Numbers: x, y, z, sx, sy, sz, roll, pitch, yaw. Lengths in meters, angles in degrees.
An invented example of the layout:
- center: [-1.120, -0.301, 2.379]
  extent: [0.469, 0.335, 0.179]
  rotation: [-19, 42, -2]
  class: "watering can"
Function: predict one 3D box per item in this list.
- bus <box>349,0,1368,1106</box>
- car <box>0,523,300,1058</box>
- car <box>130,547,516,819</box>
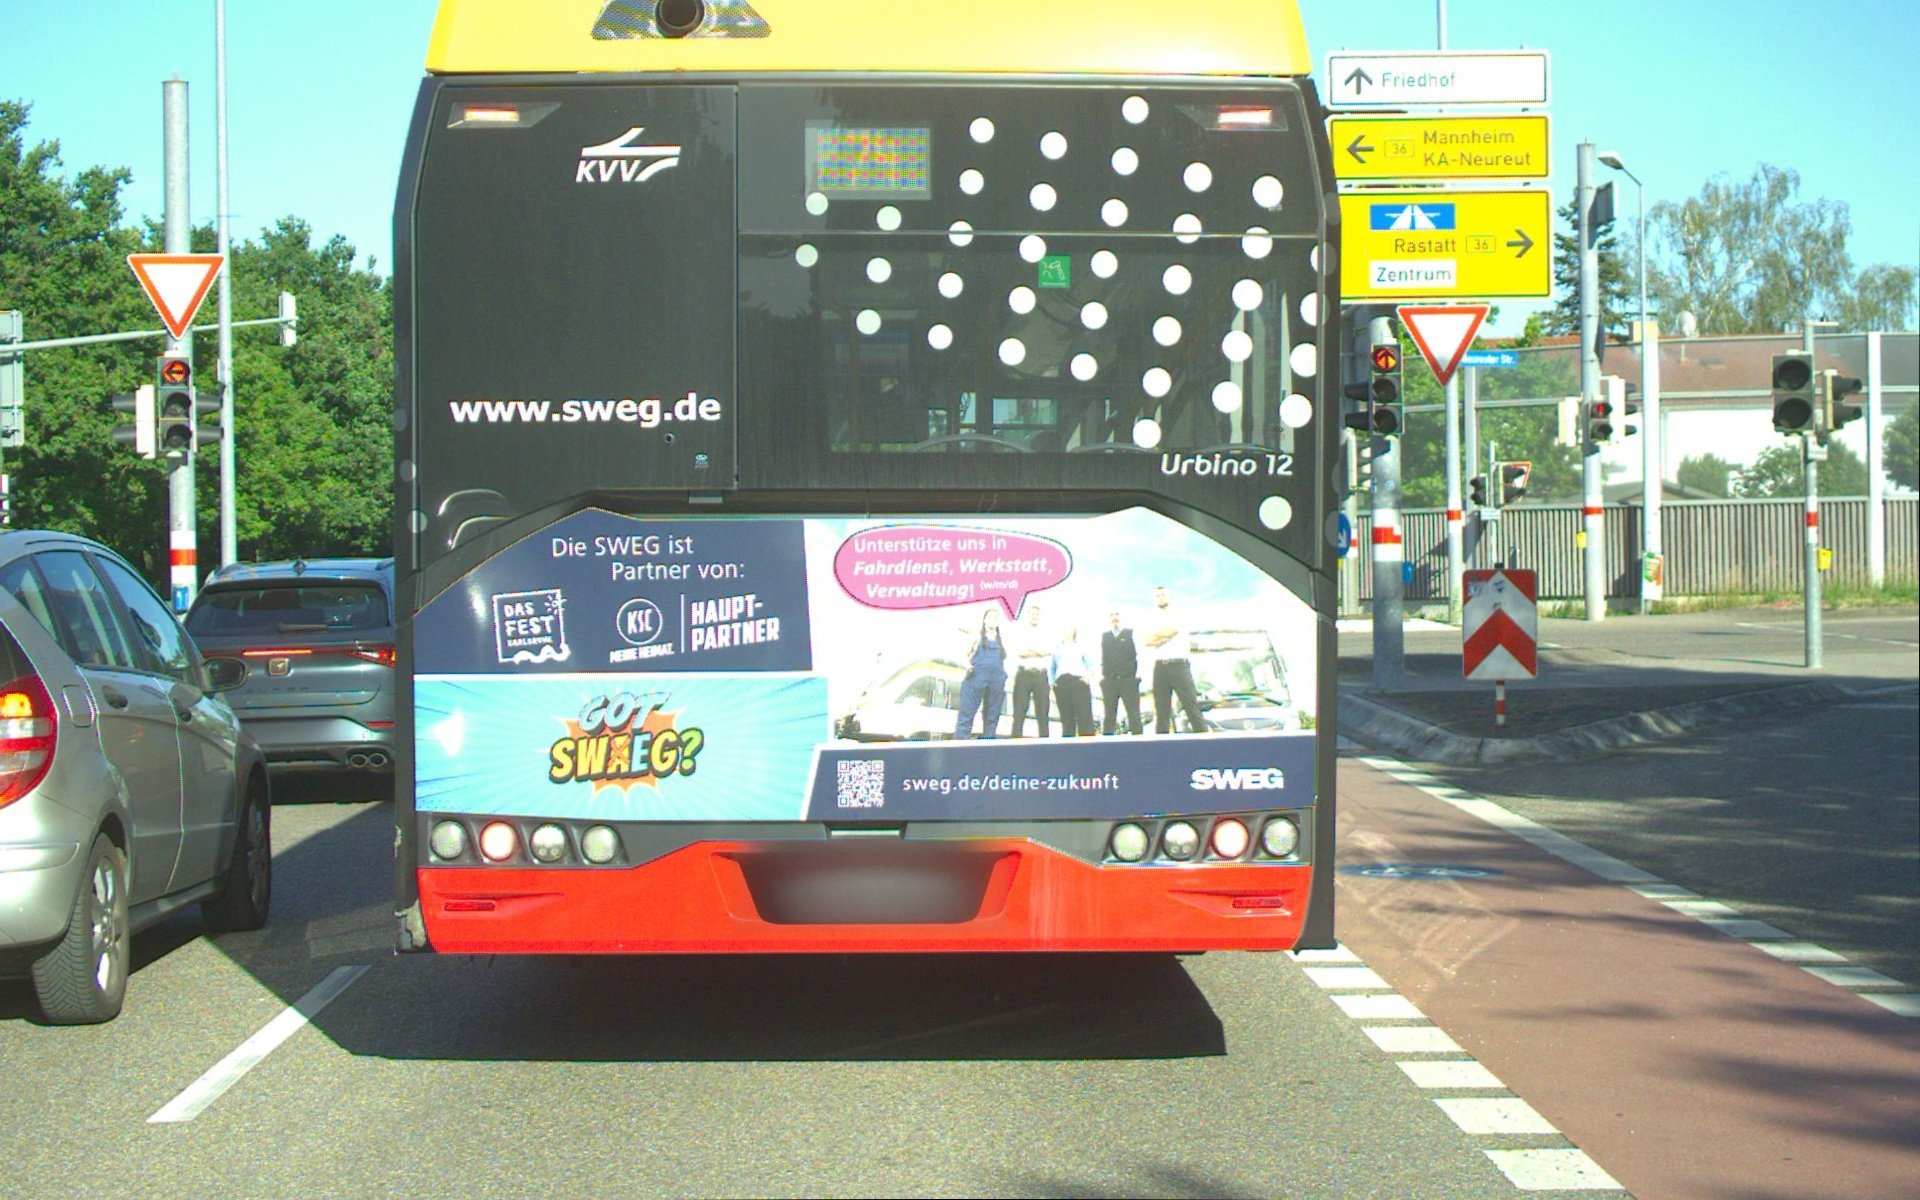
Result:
- center: [-0.286, -0.397, 14.891]
  extent: [2.642, 3.156, 11.861]
  rotation: [0, 1, 0]
  class: "bus"
- center: [-3.598, 0.559, 12.192]
  extent: [1.761, 1.584, 4.000]
  rotation: [-2, 1, -1]
  class: "car"
- center: [-3.805, 0.436, 21.123]
  extent: [1.692, 1.453, 3.751]
  rotation: [-2, 1, -1]
  class: "car"
